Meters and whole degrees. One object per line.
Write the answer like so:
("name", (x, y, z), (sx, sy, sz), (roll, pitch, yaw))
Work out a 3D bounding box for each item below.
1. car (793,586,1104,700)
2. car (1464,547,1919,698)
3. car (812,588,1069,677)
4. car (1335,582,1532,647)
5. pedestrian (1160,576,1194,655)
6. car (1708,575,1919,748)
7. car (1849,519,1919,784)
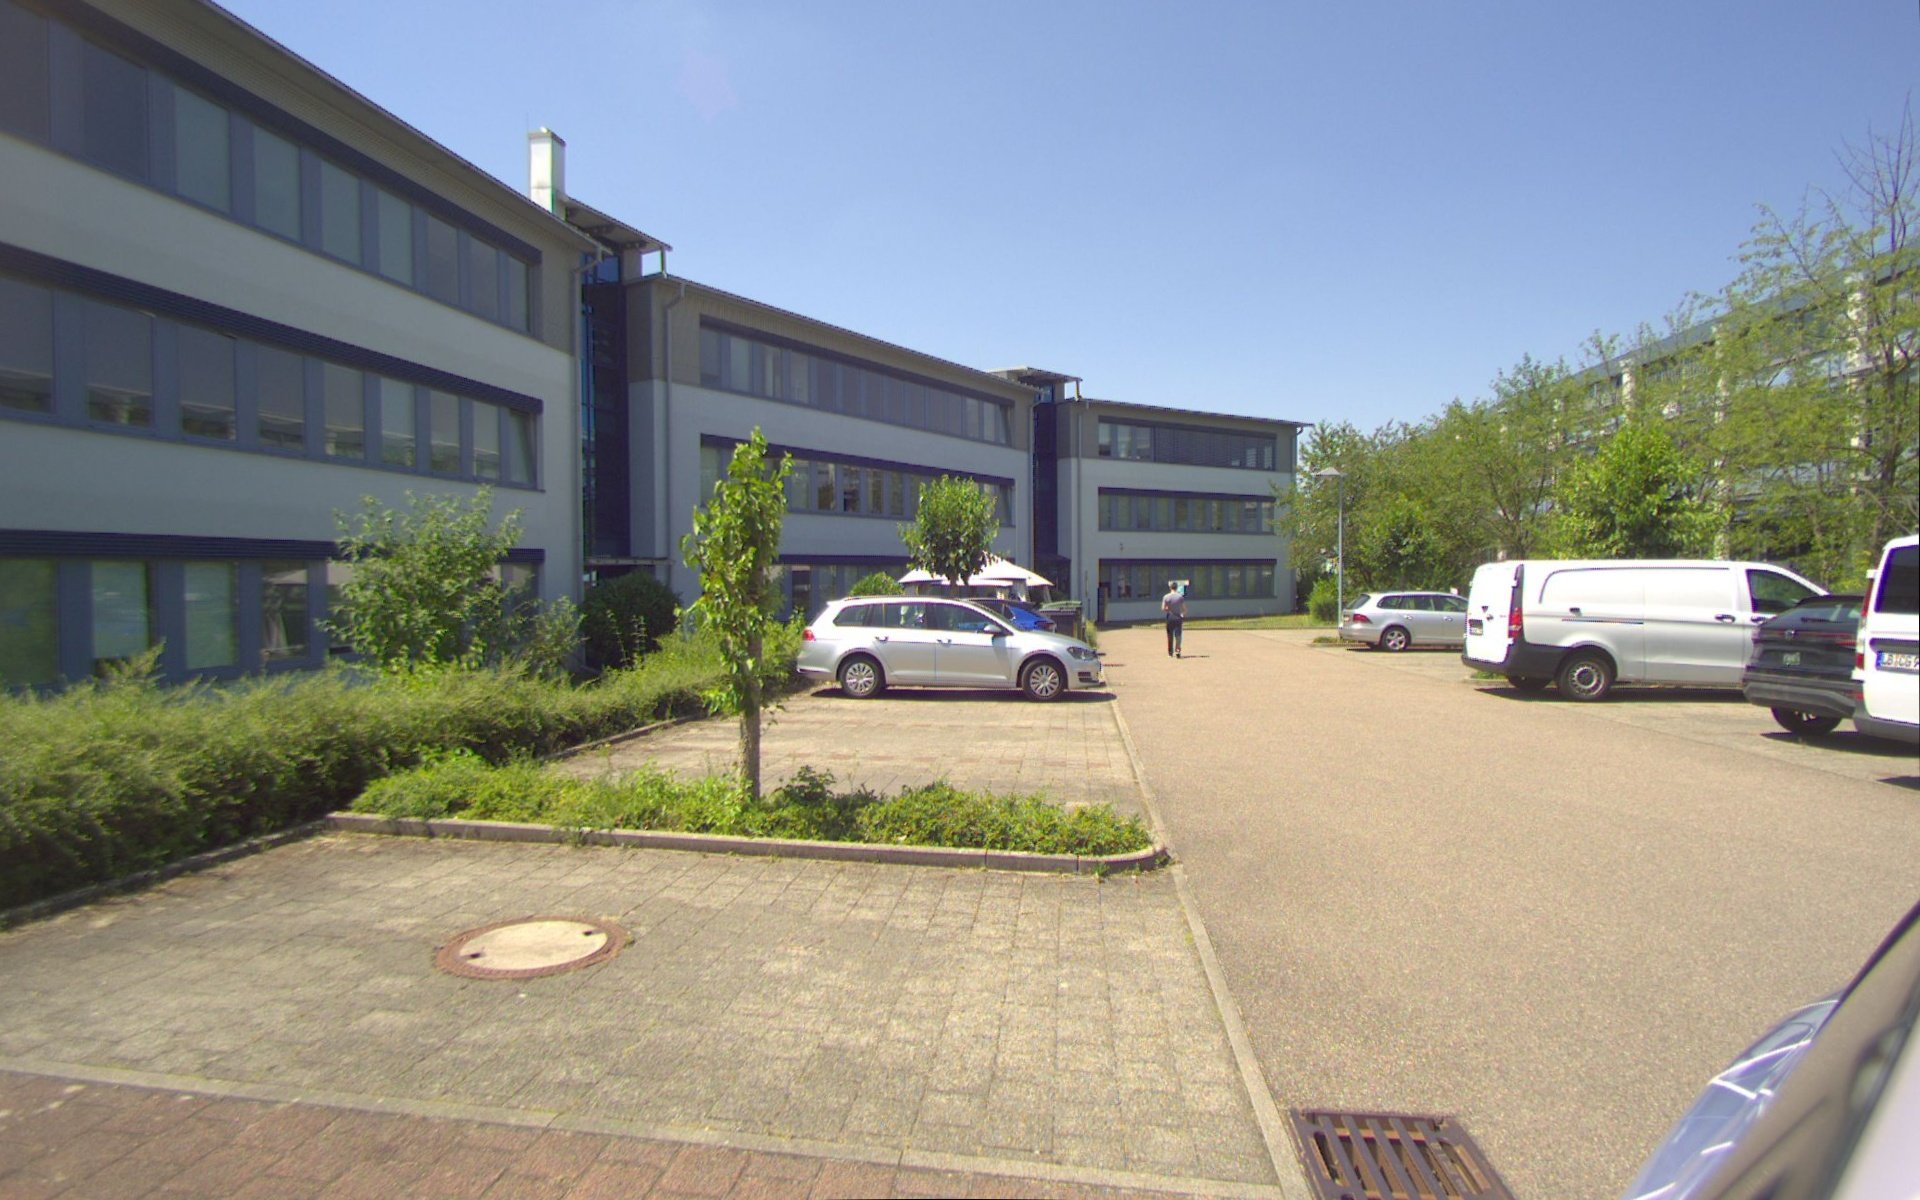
("car", (-0.106, 0.581, 15.015), (4.351, 1.539, 1.853), (0, 0, 7))
("car", (9.841, 0.287, 13.893), (4.853, 1.879, 1.852), (0, 0, 9))
("car", (-0.283, 0.559, 18.653), (4.533, 1.513, 1.853), (0, 0, 7))
("car", (11.481, 0.340, 24.778), (4.018, 1.503, 1.735), (0, 0, 10))
("pedestrian", (5.001, 0.339, 23.328), (0.687, 1.779, 0.775), (-1, 0, 10))
("car", (9.804, 0.520, 9.499), (4.125, 1.503, 1.737), (0, 0, 6))
("car", (9.066, 0.357, 6.623), (4.596, 1.883, 1.865), (0, 0, 6))
